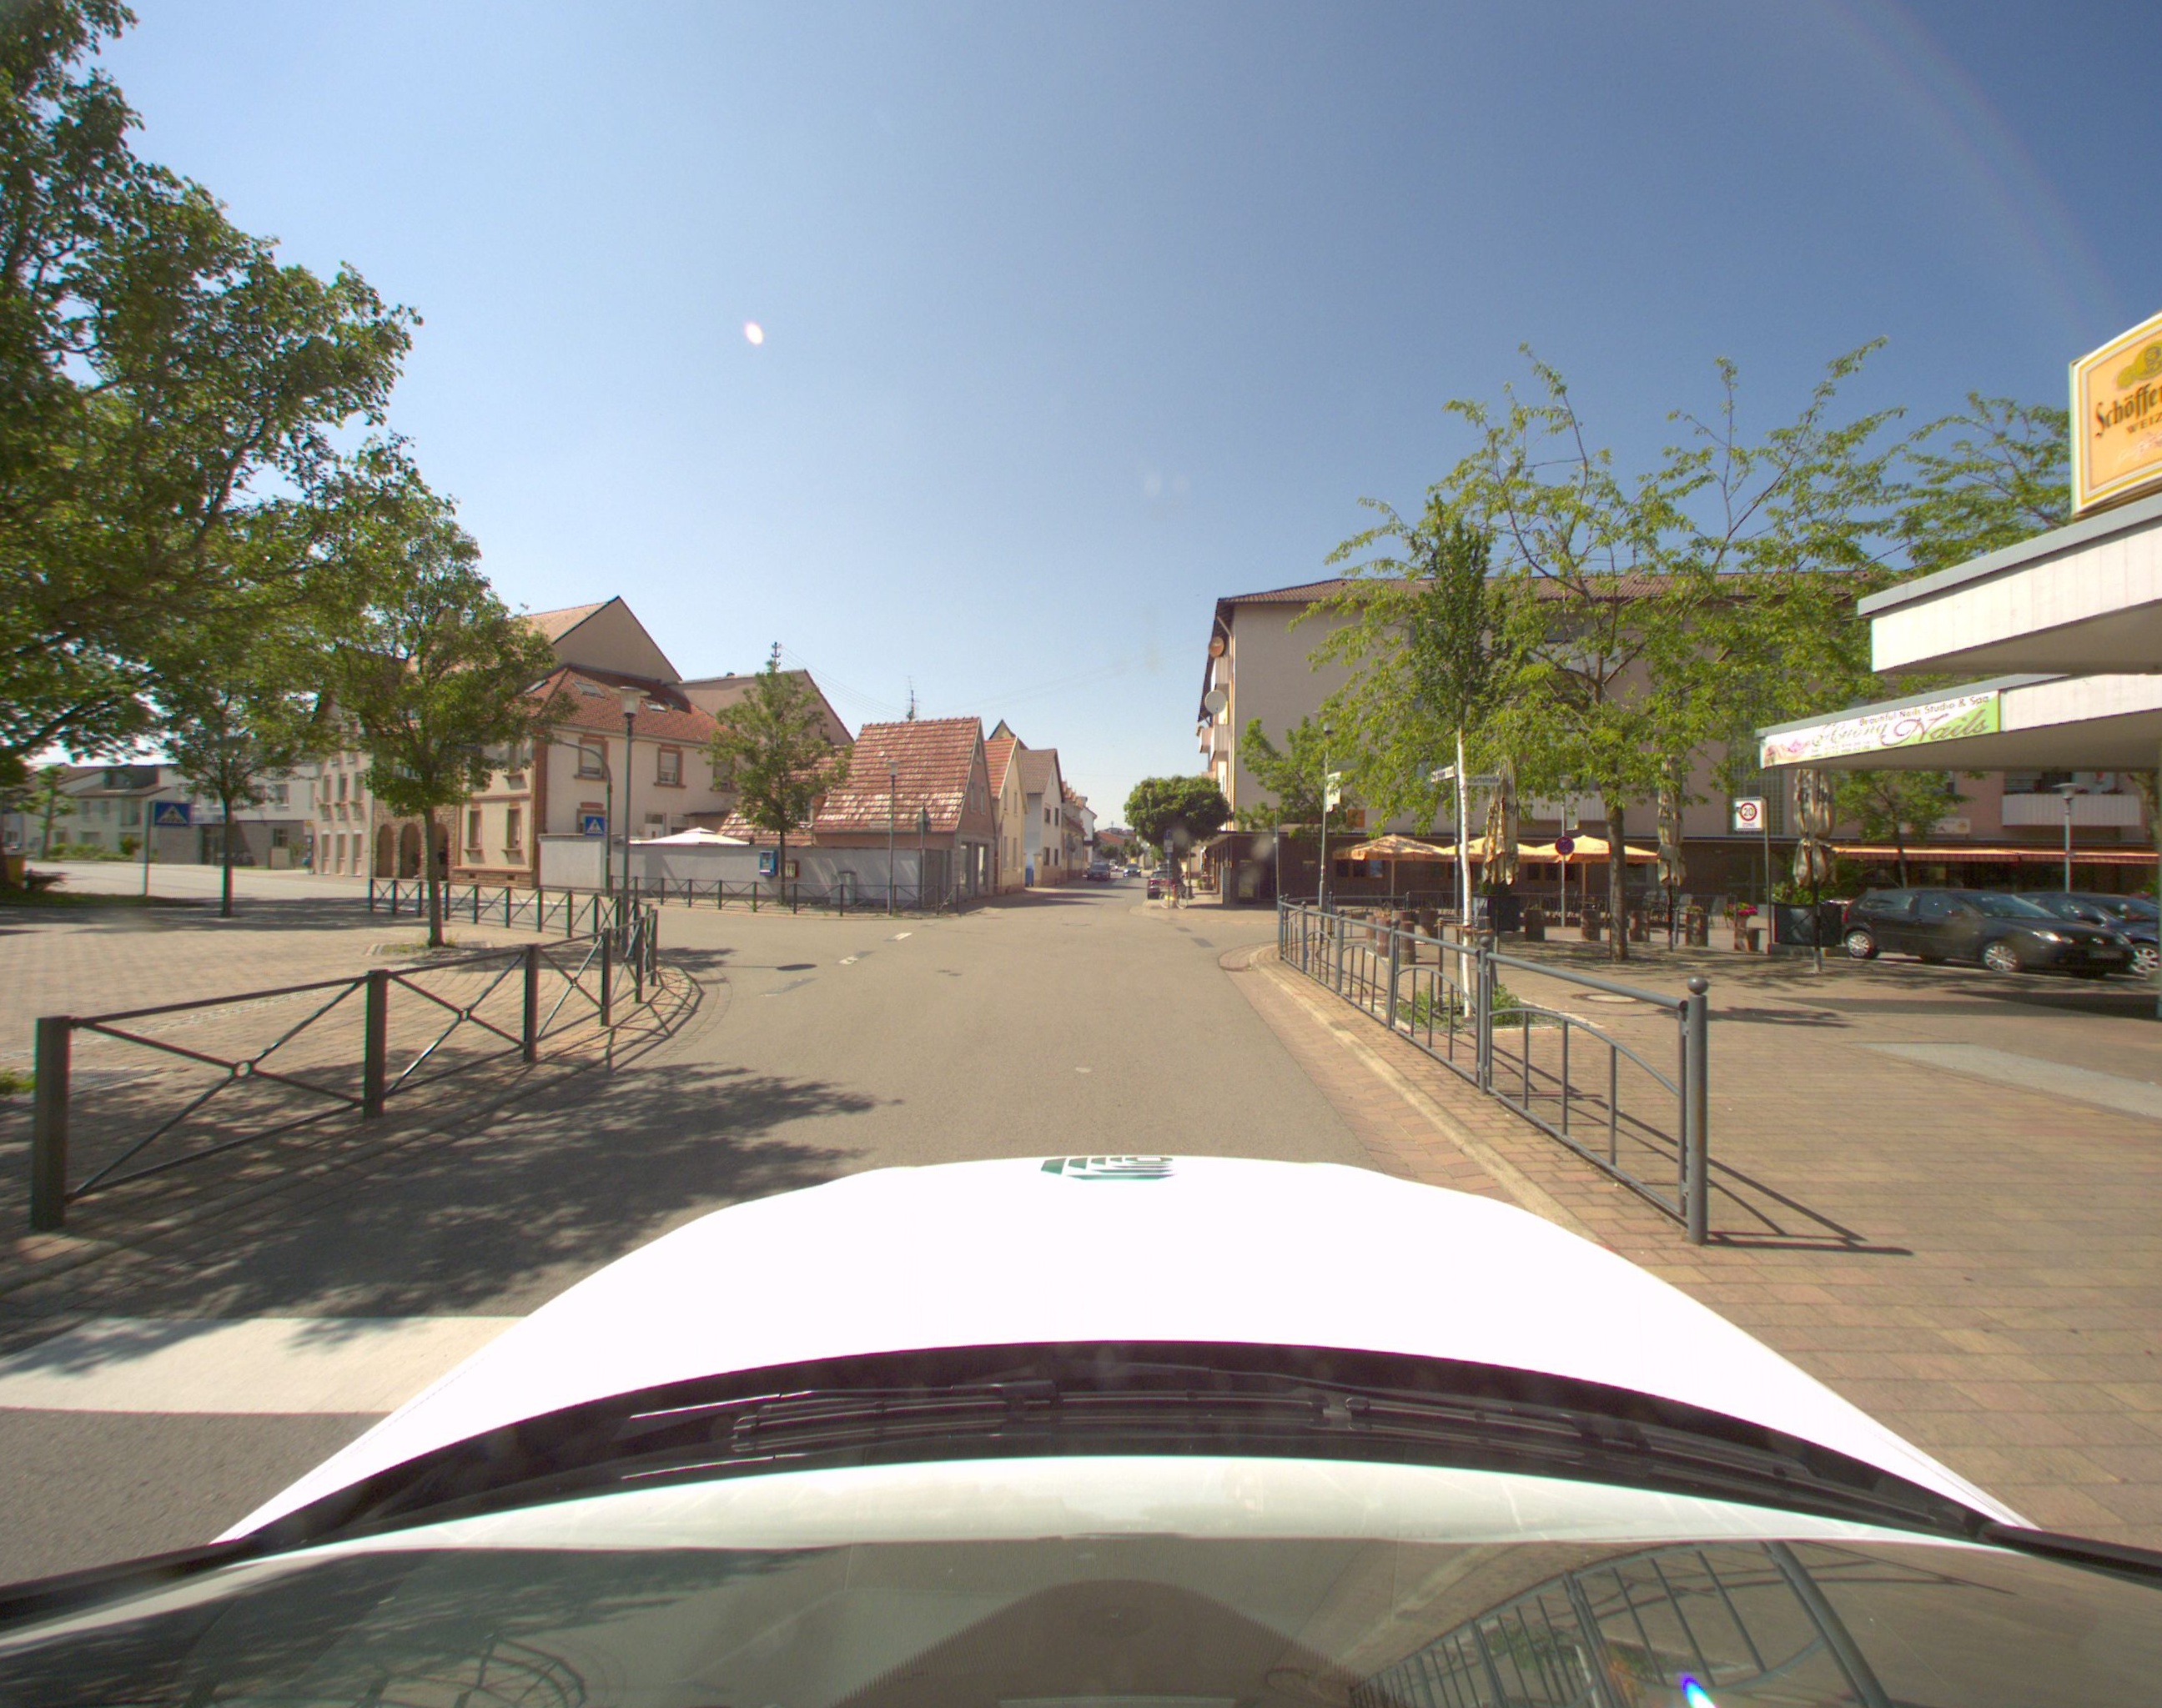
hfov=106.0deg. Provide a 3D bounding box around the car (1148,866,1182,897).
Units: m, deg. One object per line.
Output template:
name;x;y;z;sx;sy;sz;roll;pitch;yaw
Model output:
car;4.140;1.327;39.859;1.567;1.454;3.493;0;-1;8

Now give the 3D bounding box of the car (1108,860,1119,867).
car;7.624;2.166;191.711;2.014;1.598;4.522;0;-1;11

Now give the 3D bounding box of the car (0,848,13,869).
car;-95.352;0.417;71.248;3.949;1.780;1.793;0;-1;30

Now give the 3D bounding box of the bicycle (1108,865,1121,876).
bicycle;4.665;2.270;112.552;1.618;1.371;3.925;0;-1;0

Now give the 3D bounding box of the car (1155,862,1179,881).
car;7.766;1.571;73.588;2.033;1.689;4.849;0;-1;6

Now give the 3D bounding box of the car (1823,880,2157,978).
car;16.438;1.266;15.090;1.761;1.510;3.970;1;-1;0

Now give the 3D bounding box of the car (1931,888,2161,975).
car;19.023;1.374;15.330;1.772;1.431;4.110;0;-2;1

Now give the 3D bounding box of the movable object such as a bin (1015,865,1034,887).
movable object such as a bin;-3.490;1.355;50.202;1.095;1.366;0.391;0;-1;9

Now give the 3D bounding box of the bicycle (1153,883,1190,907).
bicycle;3.457;1.570;31.240;1.396;0.897;0.468;-2;-1;42

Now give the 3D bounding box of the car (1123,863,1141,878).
car;5.327;1.704;84.844;1.901;1.481;4.848;0;-1;4

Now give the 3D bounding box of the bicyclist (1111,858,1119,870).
bicyclist;4.716;1.430;112.687;1.043;1.637;1.128;0;-1;0

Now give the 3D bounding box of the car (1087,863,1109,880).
car;1.504;1.495;71.285;1.655;1.476;4.140;0;-1;5
